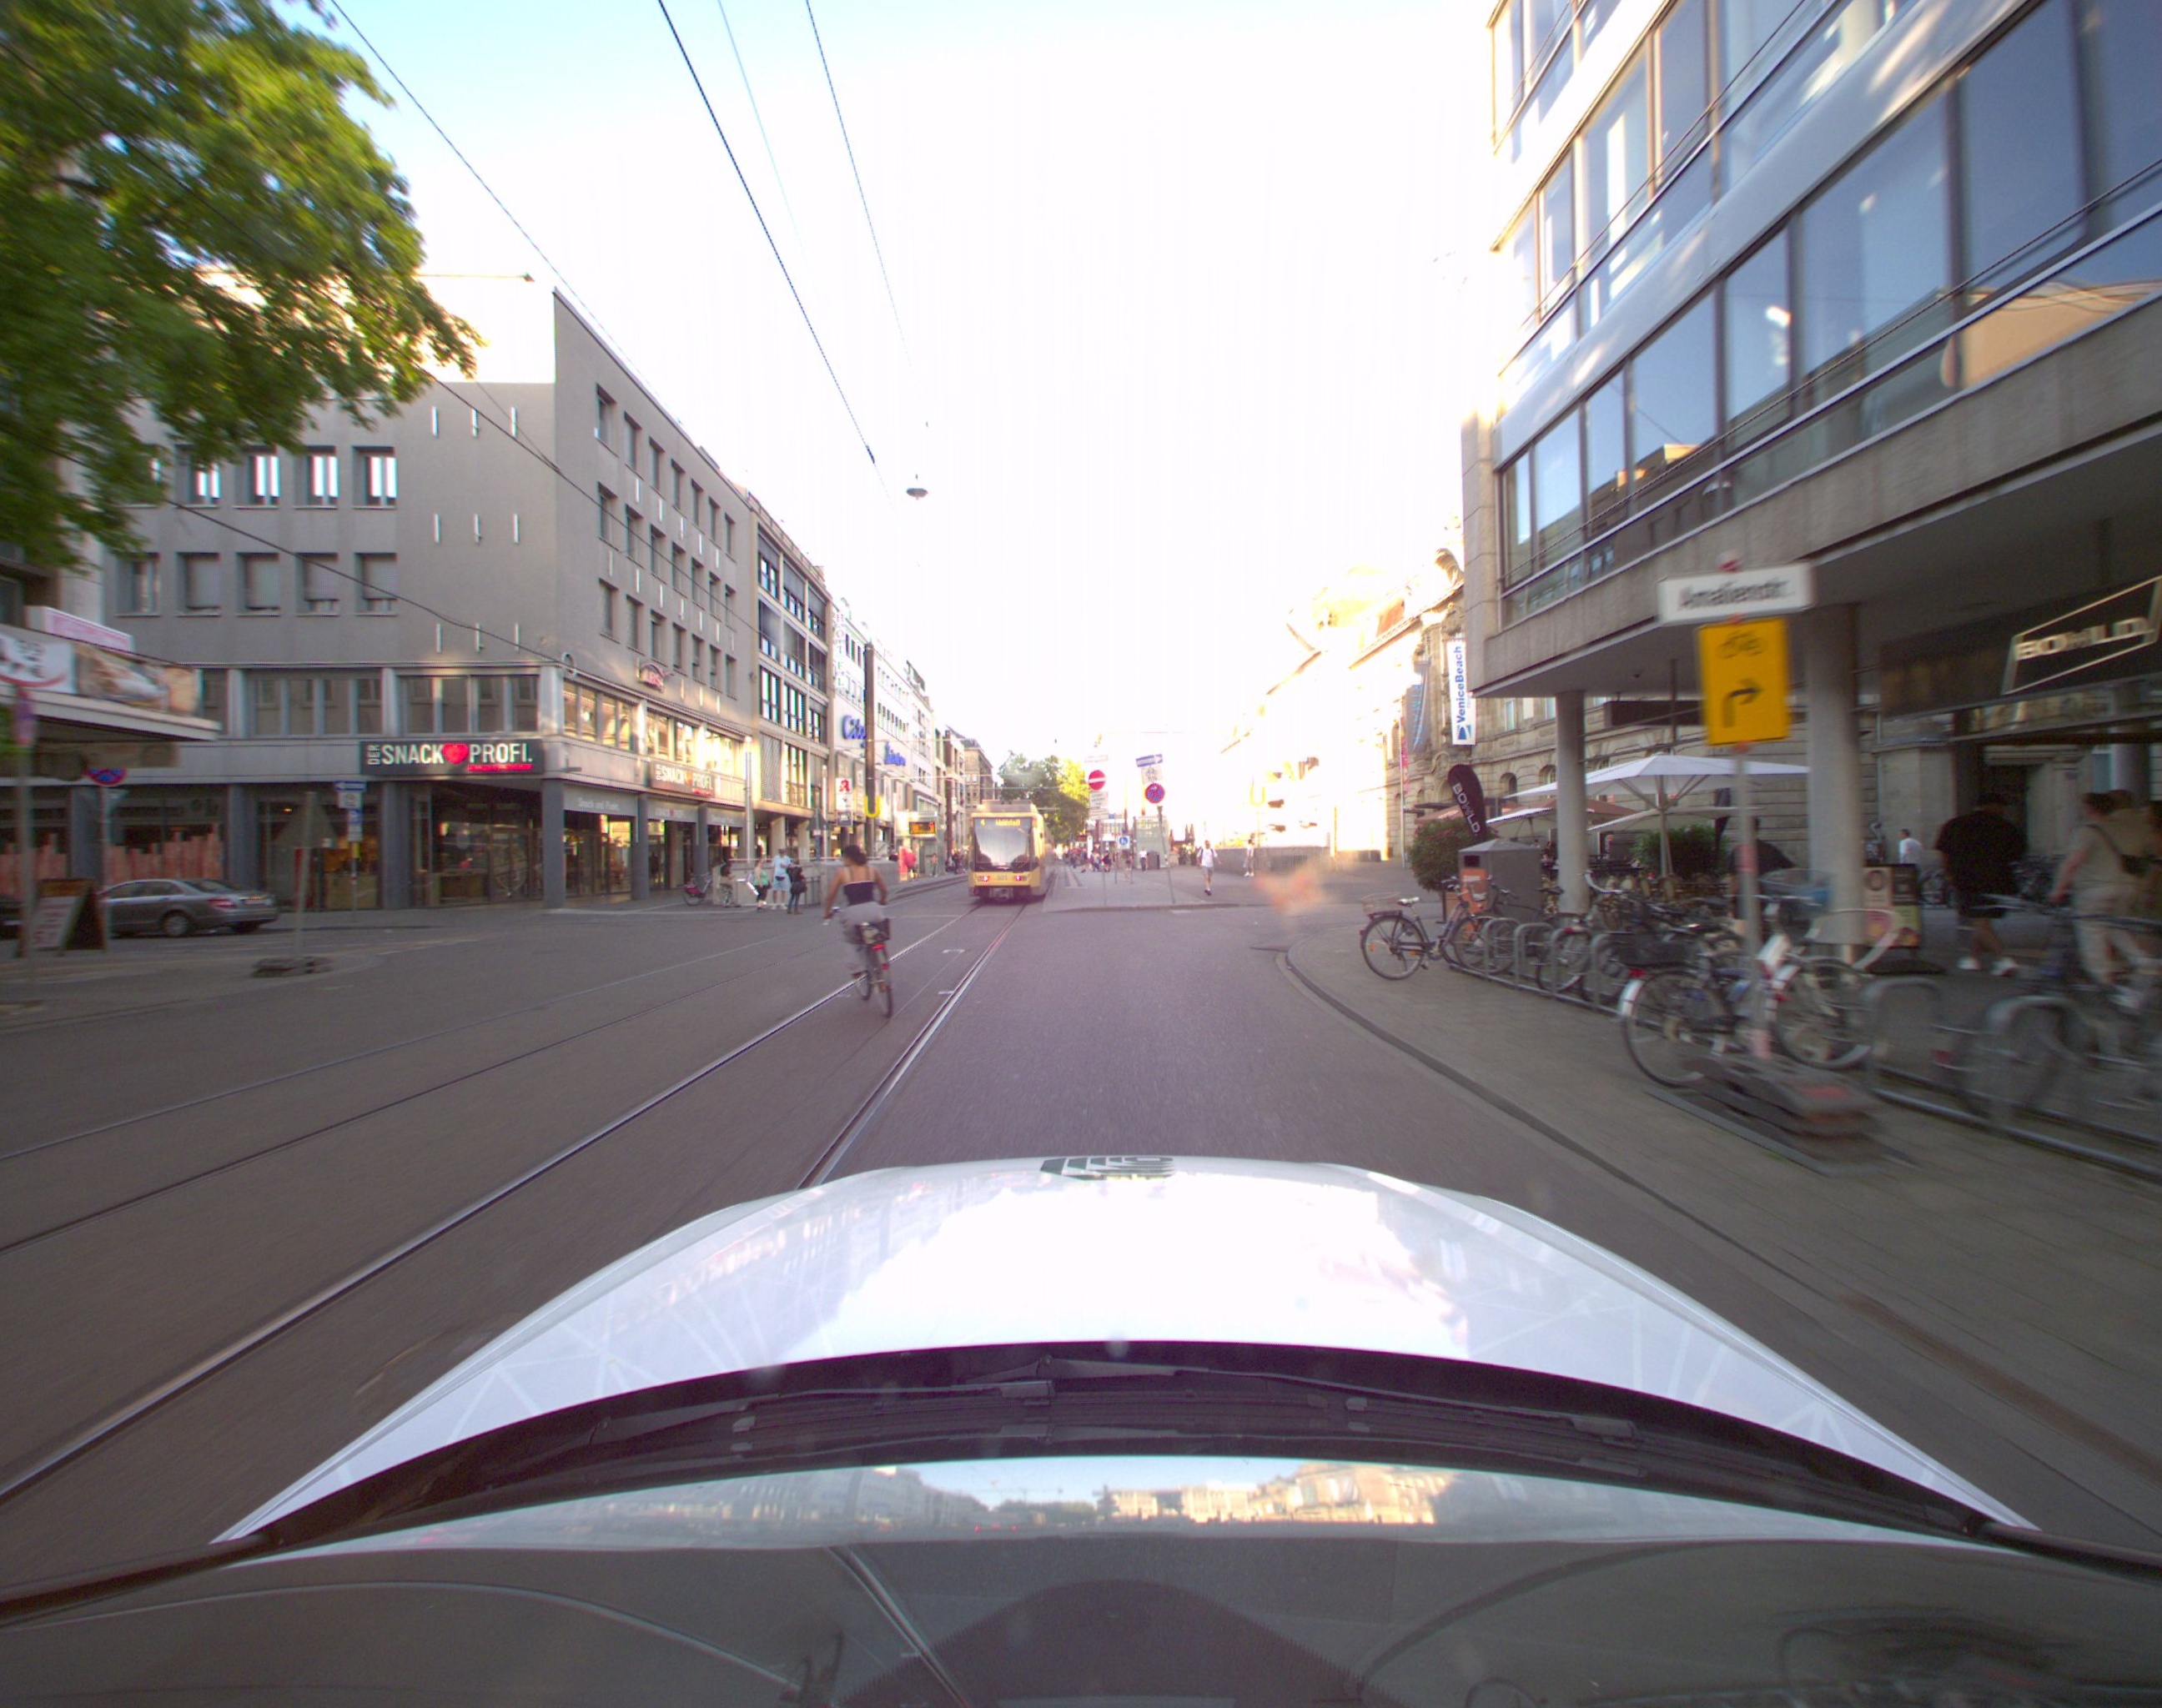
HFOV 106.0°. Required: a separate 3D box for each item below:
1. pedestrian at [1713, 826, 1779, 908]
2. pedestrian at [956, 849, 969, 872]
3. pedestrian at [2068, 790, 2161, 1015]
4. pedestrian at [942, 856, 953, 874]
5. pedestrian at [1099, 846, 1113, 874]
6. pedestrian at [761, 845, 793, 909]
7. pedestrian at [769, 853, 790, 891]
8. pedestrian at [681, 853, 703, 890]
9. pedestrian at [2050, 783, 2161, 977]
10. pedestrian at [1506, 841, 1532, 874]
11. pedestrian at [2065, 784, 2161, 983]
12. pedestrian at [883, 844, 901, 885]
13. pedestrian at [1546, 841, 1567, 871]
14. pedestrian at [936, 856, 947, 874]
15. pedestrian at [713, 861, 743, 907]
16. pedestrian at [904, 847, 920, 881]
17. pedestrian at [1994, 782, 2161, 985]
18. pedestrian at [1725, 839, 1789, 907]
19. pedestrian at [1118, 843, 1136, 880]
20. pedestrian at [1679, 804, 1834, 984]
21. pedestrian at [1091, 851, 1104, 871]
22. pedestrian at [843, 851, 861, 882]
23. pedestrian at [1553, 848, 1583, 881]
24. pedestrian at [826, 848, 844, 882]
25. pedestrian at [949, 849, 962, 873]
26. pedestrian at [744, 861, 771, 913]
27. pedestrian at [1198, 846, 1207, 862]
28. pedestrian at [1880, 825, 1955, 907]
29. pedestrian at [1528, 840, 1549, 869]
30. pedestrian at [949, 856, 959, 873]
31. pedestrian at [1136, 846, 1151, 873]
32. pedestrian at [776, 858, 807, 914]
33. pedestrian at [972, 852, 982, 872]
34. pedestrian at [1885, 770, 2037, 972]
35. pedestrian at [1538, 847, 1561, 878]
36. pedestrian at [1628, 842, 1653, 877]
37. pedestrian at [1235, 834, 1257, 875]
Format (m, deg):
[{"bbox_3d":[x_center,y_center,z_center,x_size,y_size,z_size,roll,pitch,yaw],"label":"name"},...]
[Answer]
[{"bbox_3d":[15.426,0.296,18.914,0.801,1.839,0.873,0,0,-2],"label":"pedestrian"},{"bbox_3d":[-9.005,0.496,61.976,0.712,1.725,0.768,-1,-1,-30],"label":"pedestrian"},{"bbox_3d":[8.469,0.352,6.294,0.805,1.695,0.805,-2,0,-19],"label":"pedestrian"},{"bbox_3d":[-10.518,0.837,64.043,0.705,1.379,0.720,-1,-1,-3],"label":"pedestrian"},{"bbox_3d":[1.649,0.381,54.063,0.735,1.823,0.815,-1,0,-16],"label":"pedestrian"},{"bbox_3d":[-9.333,0.690,25.000,0.773,1.926,0.707,-1,-1,-9],"label":"pedestrian"},{"bbox_3d":[-13.952,0.816,37.733,0.712,1.725,0.708,-1,-1,-3],"label":"pedestrian"},{"bbox_3d":[-18.976,0.851,39.736,0.712,1.725,0.708,-1,-1,-3],"label":"pedestrian"},{"bbox_3d":[10.489,0.242,8.149,0.660,1.848,0.720,-2,-1,4],"label":"pedestrian"},{"bbox_3d":[18.520,0.151,34.428,0.799,1.382,0.655,0,2,9],"label":"pedestrian"},{"bbox_3d":[10.027,0.257,7.639,0.661,1.787,0.719,-2,-1,-1],"label":"pedestrian"},{"bbox_3d":[-9.053,0.495,38.993,0.713,1.925,0.708,-1,-1,-6],"label":"pedestrian"},{"bbox_3d":[21.523,0.088,36.866,0.606,1.308,0.607,-1,2,-6],"label":"pedestrian"},{"bbox_3d":[-10.639,0.826,61.938,0.705,1.379,0.720,-1,-1,-3],"label":"pedestrian"},{"bbox_3d":[-11.323,0.963,26.116,0.548,1.434,0.689,-2,-1,36],"label":"pedestrian"},{"bbox_3d":[-8.755,0.514,42.163,0.713,1.698,0.784,-1,-1,-7],"label":"pedestrian"},{"bbox_3d":[9.297,0.263,7.606,0.661,1.787,0.719,-2,-1,-1],"label":"pedestrian"},{"bbox_3d":[16.095,0.441,19.420,0.801,1.581,0.873,0,0,-2],"label":"pedestrian"},{"bbox_3d":[2.234,0.360,39.473,0.717,1.725,0.708,-1,-1,-6],"label":"pedestrian"},{"bbox_3d":[6.895,0.388,8.369,0.761,1.719,0.923,-2,-1,0],"label":"pedestrian"},{"bbox_3d":[1.309,0.577,66.050,0.759,1.579,0.799,-1,0,28],"label":"pedestrian"},{"bbox_3d":[-11.762,0.627,41.829,0.632,1.588,0.598,0,-2,-44],"label":"pedestrian"},{"bbox_3d":[18.870,0.398,31.592,0.773,1.242,0.831,0,2,12],"label":"pedestrian"},{"bbox_3d":[-12.559,0.574,41.521,0.632,1.725,0.597,0,-2,-45],"label":"pedestrian"},{"bbox_3d":[-9.266,0.512,60.231,0.712,1.725,0.767,-1,-1,-32],"label":"pedestrian"},{"bbox_3d":[-9.558,0.967,24.043,0.603,1.494,0.553,-1,-1,-9],"label":"pedestrian"},{"bbox_3d":[13.649,-0.003,91.432,0.771,1.825,0.849,-1,0,-4],"label":"pedestrian"},{"bbox_3d":[19.621,0.255,19.121,0.863,1.839,0.872,-1,2,-7],"label":"pedestrian"},{"bbox_3d":[21.343,0.032,37.998,0.591,1.308,0.581,-1,2,-6],"label":"pedestrian"},{"bbox_3d":[-10.473,0.856,67.232,0.705,1.379,0.720,-1,-1,-3],"label":"pedestrian"},{"bbox_3d":[4.246,0.374,55.514,0.771,1.823,0.938,-2,0,-5],"label":"pedestrian"},{"bbox_3d":[-8.167,0.882,22.964,0.684,1.542,0.604,-1,-1,-9],"label":"pedestrian"},{"bbox_3d":[-8.877,0.694,69.548,0.771,1.725,0.709,-1,-1,-2],"label":"pedestrian"},{"bbox_3d":[9.261,0.166,8.603,0.684,2.013,0.782,-2,0,-1],"label":"pedestrian"},{"bbox_3d":[19.038,0.336,33.124,0.611,1.226,0.703,0,2,13],"label":"pedestrian"},{"bbox_3d":[21.803,0.206,31.723,0.657,1.308,0.778,-1,3,23],"label":"pedestrian"},{"bbox_3d":[8.152,0.021,40.176,0.911,2.014,0.772,0,-1,0],"label":"pedestrian"}]
